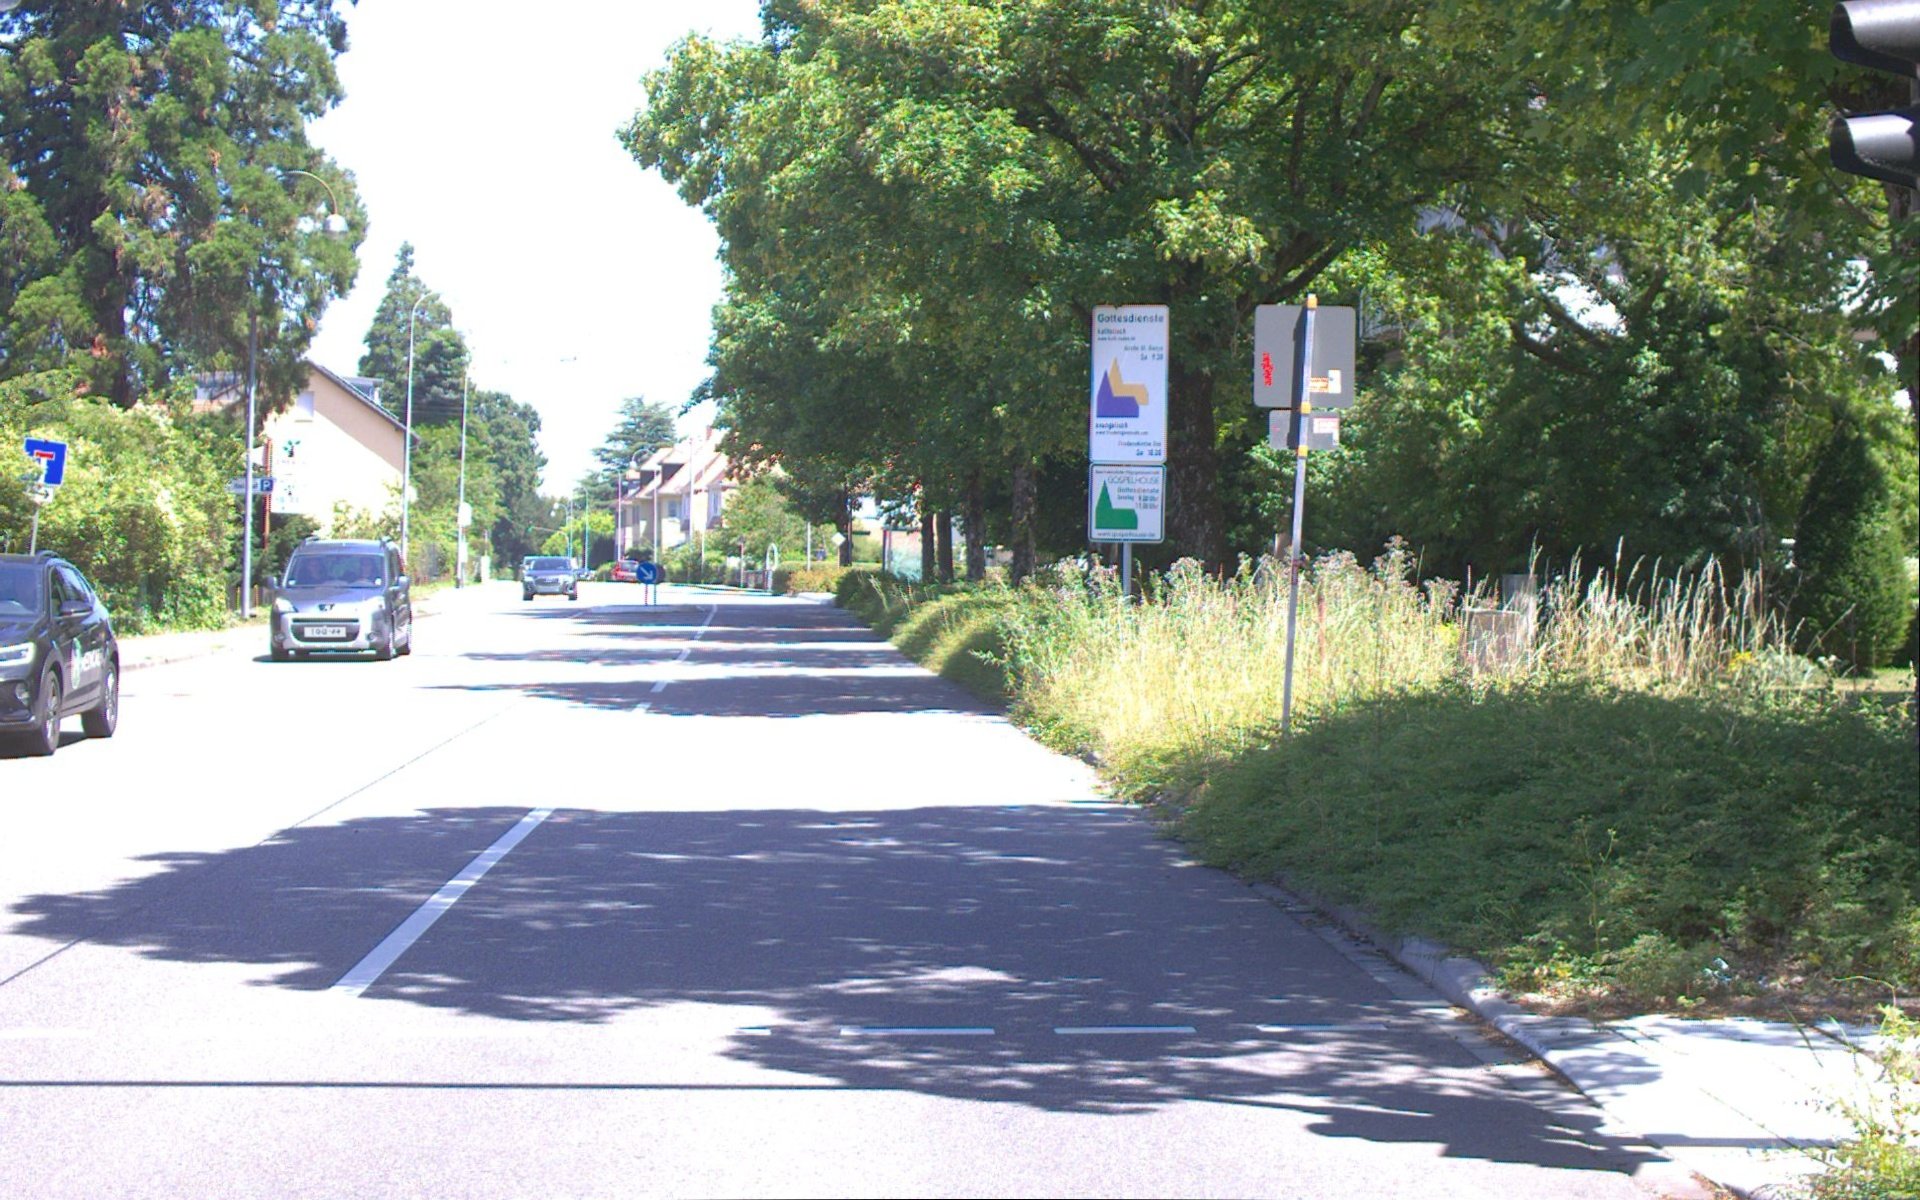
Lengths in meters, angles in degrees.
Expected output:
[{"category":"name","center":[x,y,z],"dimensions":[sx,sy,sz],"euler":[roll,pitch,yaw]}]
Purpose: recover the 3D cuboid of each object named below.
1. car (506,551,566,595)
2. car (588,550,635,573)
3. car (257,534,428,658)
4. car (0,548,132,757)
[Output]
[{"category":"car","center":[-15.036,-0.971,122.013],"dimensions":[1.793,1.531,4.316],"euler":[0,1,-3]},{"category":"car","center":[-21.360,-2.354,210.566],"dimensions":[1.943,1.355,4.465],"euler":[0,1,-19]},{"category":"car","center":[-9.186,-0.090,51.471],"dimensions":[1.811,1.756,4.570],"euler":[1,1,-1]},{"category":"car","center":[-7.680,0.345,26.590],"dimensions":[1.869,1.501,4.053],"euler":[0,1,-5]}]
